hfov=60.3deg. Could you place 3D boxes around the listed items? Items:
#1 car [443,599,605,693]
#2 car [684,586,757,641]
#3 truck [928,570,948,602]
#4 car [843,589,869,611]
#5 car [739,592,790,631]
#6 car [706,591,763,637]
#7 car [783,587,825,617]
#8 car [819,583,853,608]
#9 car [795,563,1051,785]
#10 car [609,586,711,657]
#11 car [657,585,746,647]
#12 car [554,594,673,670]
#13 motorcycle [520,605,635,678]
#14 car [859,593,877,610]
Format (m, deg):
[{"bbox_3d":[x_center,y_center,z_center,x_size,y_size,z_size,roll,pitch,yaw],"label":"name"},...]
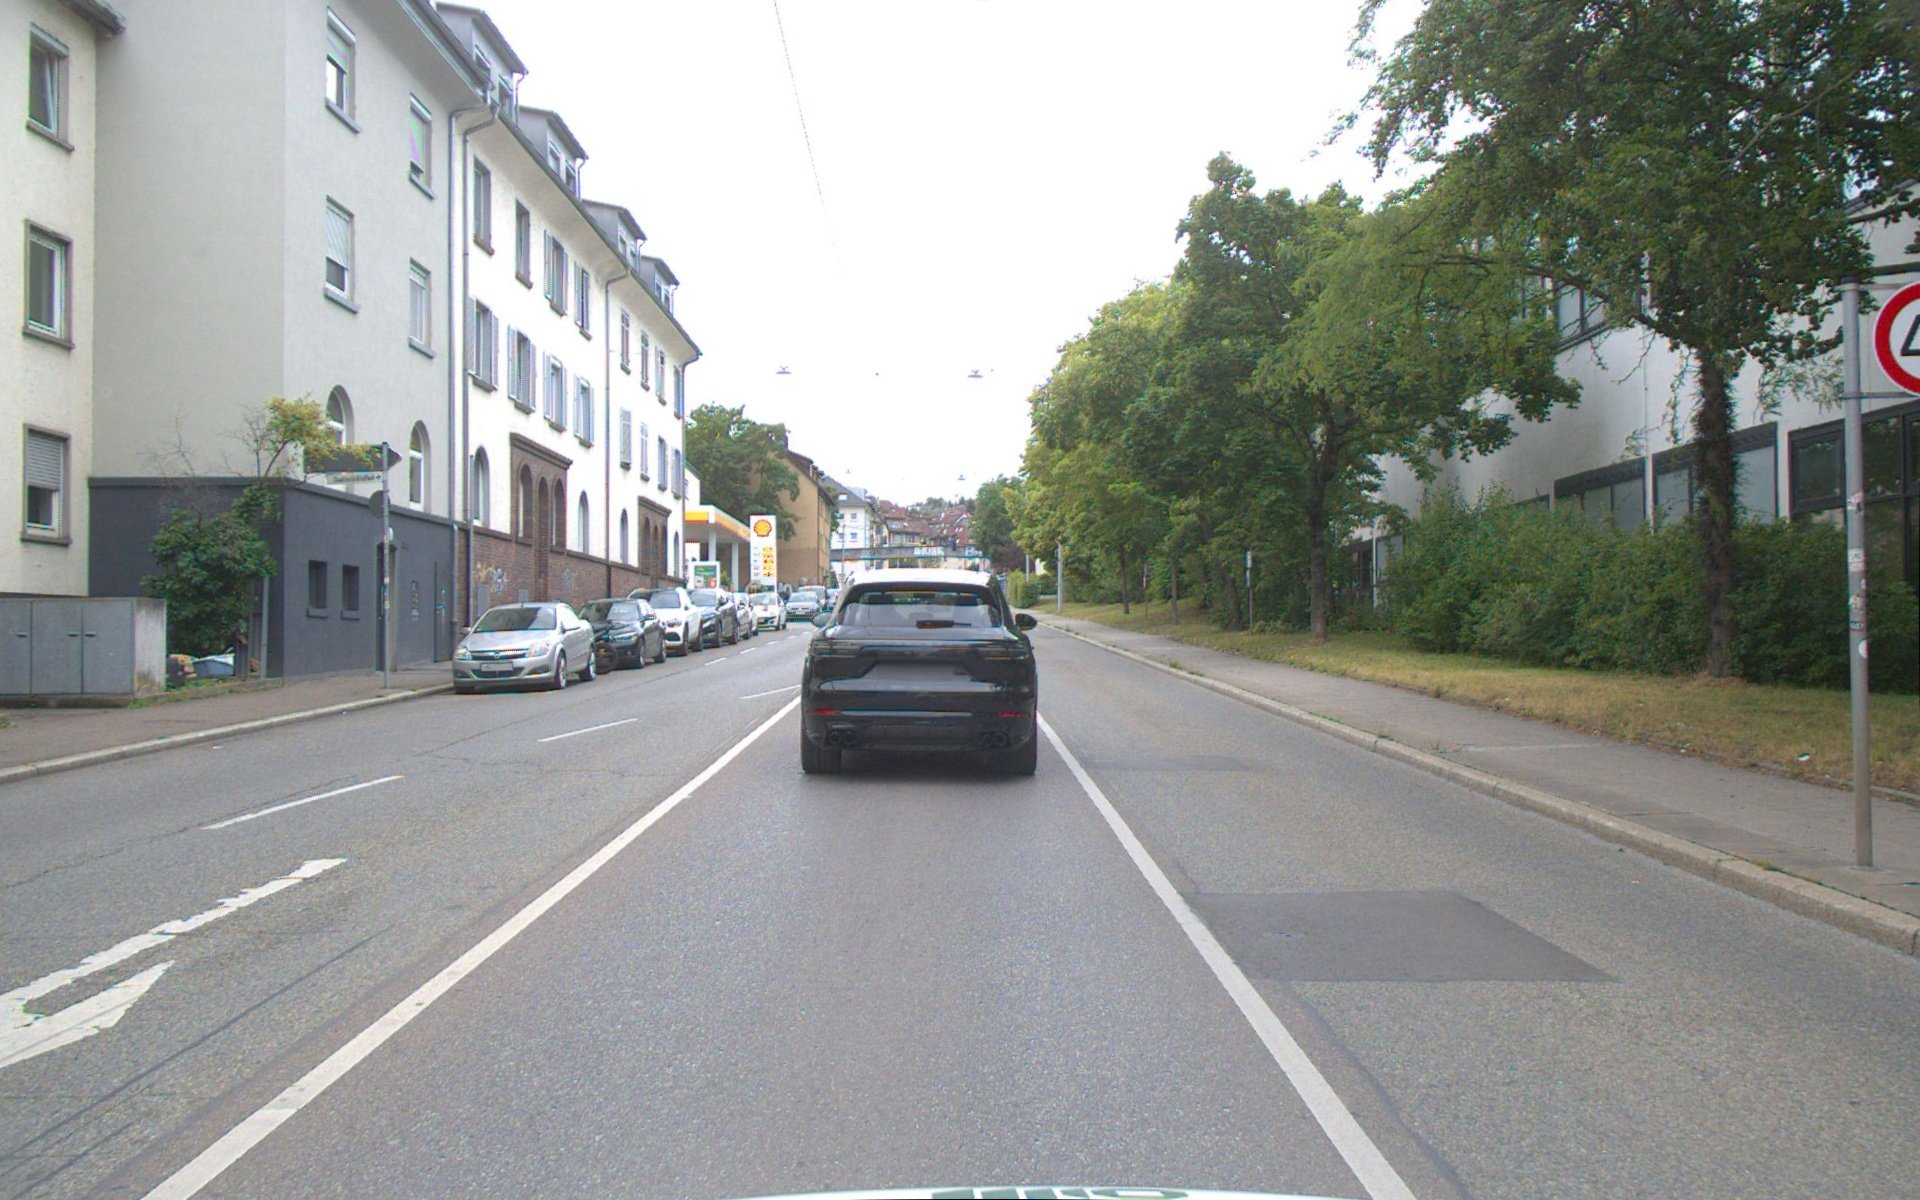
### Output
[{"bbox_3d":[-7.207,0.707,27.748,1.692,1.398,4.336,-1,1,-2],"label":"car"},{"bbox_3d":[-7.459,0.394,51.786,1.692,1.585,4.080,-3,0,-1],"label":"car"},{"bbox_3d":[-2.485,-1.559,189.952,2.220,3.484,9.876,0,0,-1],"label":"truck"},{"bbox_3d":[-8.318,0.020,132.357,1.746,1.637,4.265,-2,0,0],"label":"car"},{"bbox_3d":[-7.768,0.445,65.993,1.586,1.450,3.665,-1,1,0],"label":"car"},{"bbox_3d":[-7.700,0.459,56.716,1.516,1.501,3.603,-1,0,-1],"label":"car"},{"bbox_3d":[-7.909,0.097,84.138,1.754,1.475,4.217,-1,0,-1],"label":"car"},{"bbox_3d":[-8.253,-0.311,110.643,1.876,1.605,4.699,-1,0,0],"label":"car"},{"bbox_3d":[-0.292,0.540,14.678,1.953,1.691,4.000,0,1,0],"label":"car"},{"bbox_3d":[-7.414,0.490,41.293,1.808,1.649,4.642,-1,1,-2],"label":"car"},{"bbox_3d":[-7.228,0.405,46.612,1.691,1.627,4.502,-1,1,1],"label":"car"},{"bbox_3d":[-7.264,0.631,35.053,1.692,1.454,4.191,-1,1,-1],"label":"car"},{"bbox_3d":[-7.256,0.776,31.358,2.009,1.256,0.803,-3,1,-19],"label":"motorcycle"},{"bbox_3d":[-9.009,0.171,162.485,1.711,1.596,3.906,-2,0,-3],"label":"car"}]
